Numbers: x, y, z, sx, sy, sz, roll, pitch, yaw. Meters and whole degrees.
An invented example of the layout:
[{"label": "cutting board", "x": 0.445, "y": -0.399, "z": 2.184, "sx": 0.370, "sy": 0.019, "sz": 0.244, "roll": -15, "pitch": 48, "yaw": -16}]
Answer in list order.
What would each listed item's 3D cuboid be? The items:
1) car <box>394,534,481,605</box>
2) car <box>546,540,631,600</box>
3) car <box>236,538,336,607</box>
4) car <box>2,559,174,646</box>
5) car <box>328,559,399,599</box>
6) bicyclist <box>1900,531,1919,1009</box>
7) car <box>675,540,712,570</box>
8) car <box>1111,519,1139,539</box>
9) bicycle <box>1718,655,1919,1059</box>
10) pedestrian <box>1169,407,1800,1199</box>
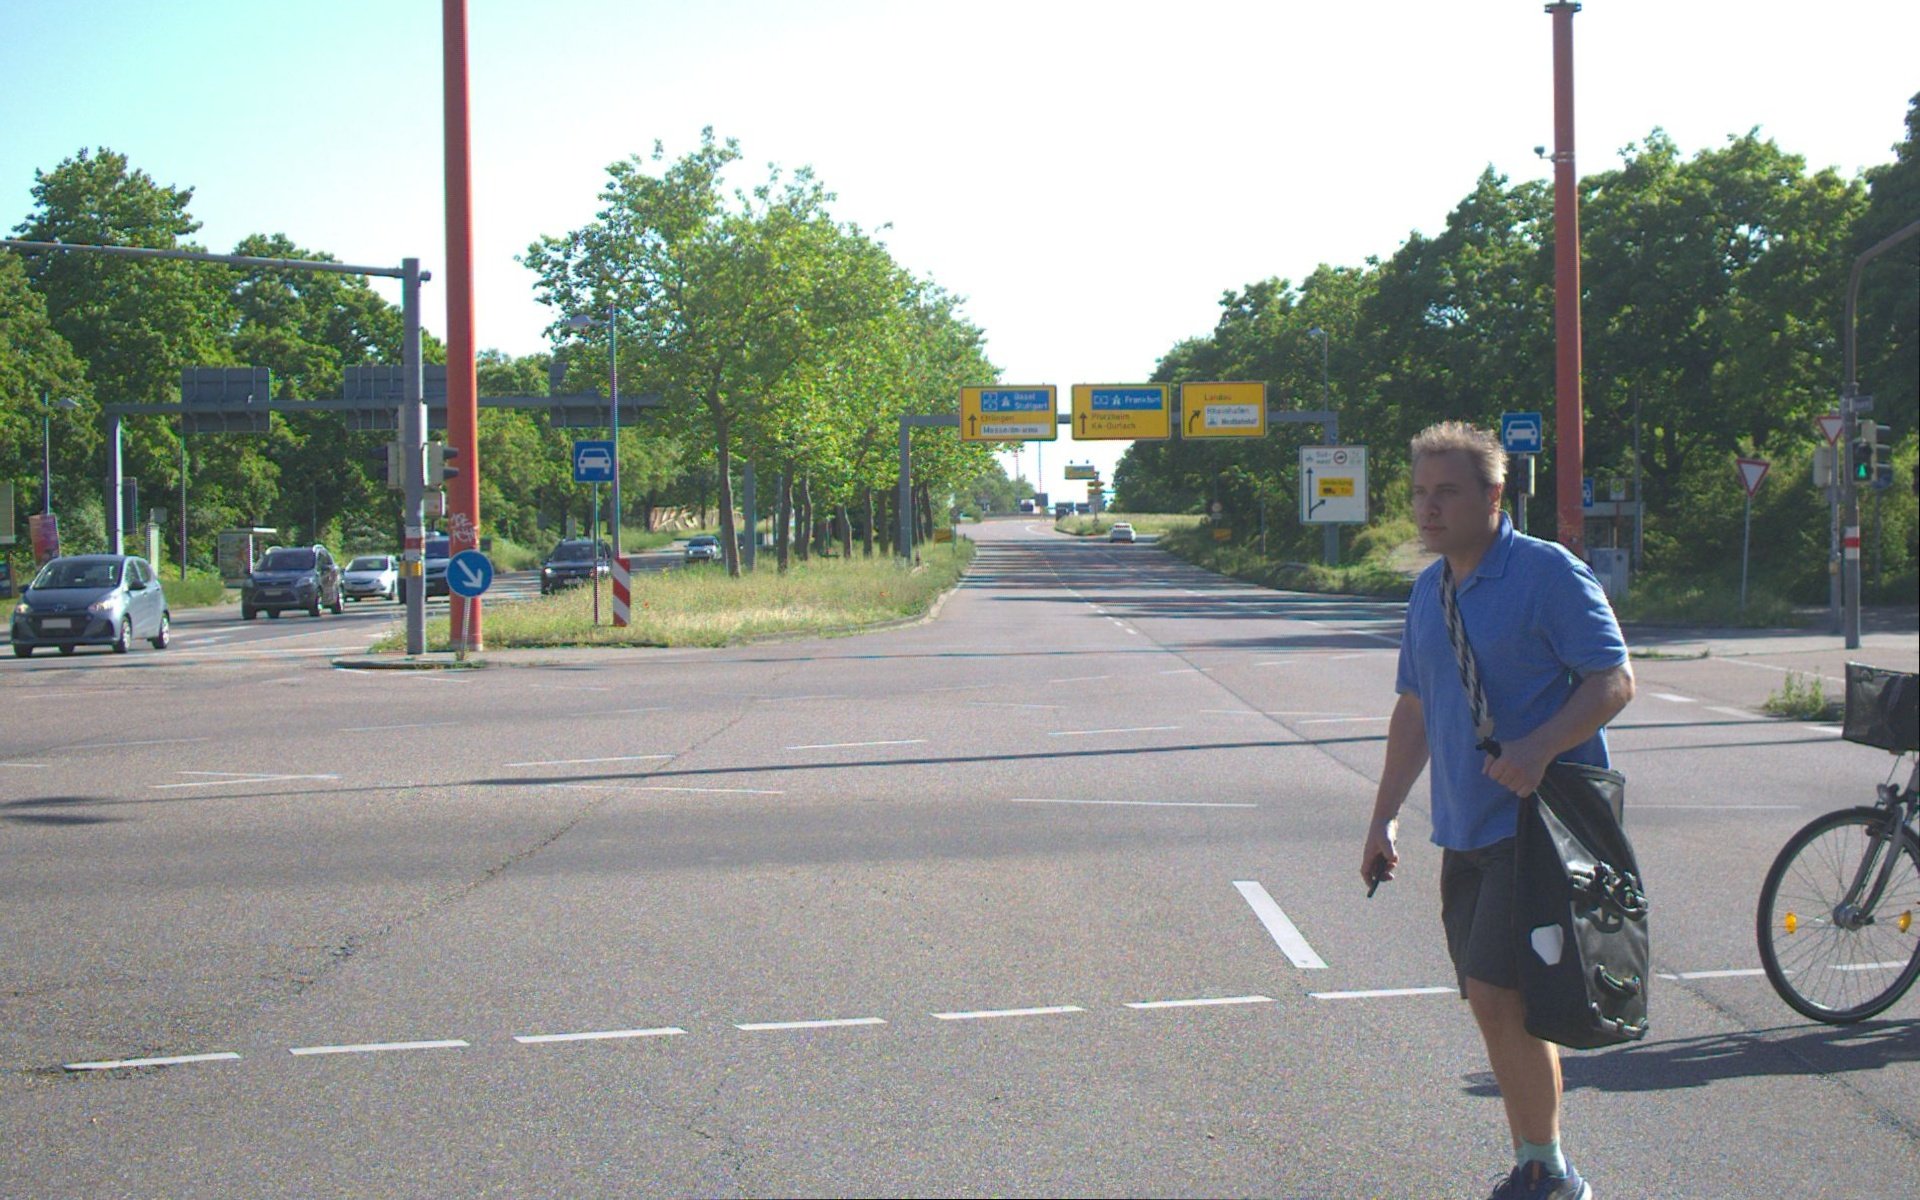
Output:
[{"label": "car", "x": -15.459, "y": -0.925, "z": 102.030, "sx": 1.893, "sy": 2.019, "sz": 5.224, "roll": -1, "pitch": 1, "yaw": -1}, {"label": "car", "x": -9.627, "y": -0.797, "z": 89.367, "sx": 1.819, "sy": 1.503, "sz": 4.000, "roll": 0, "pitch": 1, "yaw": -1}, {"label": "car", "x": -16.092, "y": -0.679, "z": 82.180, "sx": 1.739, "sy": 1.606, "sz": 3.613, "roll": -1, "pitch": 1, "yaw": -1}, {"label": "car", "x": -13.117, "y": 0.018, "z": 51.901, "sx": 1.739, "sy": 1.239, "sz": 3.613, "roll": -1, "pitch": 1, "yaw": -1}, {"label": "car", "x": -19.187, "y": -0.678, "z": 110.723, "sx": 1.739, "sy": 1.239, "sz": 3.613, "roll": -1, "pitch": 1, "yaw": -1}, {"label": "bicyclist", "x": 3.577, "y": 0.560, "z": 11.275, "sx": 0.660, "sy": 1.579, "sz": 0.673, "roll": -1, "pitch": 1, "yaw": -28}, {"label": "car", "x": -14.655, "y": -2.489, "z": 189.230, "sx": 1.797, "sy": 1.634, "sz": 4.000, "roll": 0, "pitch": 1, "yaw": -2}, {"label": "car", "x": 11.839, "y": -5.088, "z": 246.607, "sx": 1.794, "sy": 1.405, "sz": 4.000, "roll": 1, "pitch": 1, "yaw": -1}, {"label": "bicycle", "x": 3.464, "y": 0.781, "z": 11.218, "sx": 1.942, "sy": 1.191, "sz": 0.692, "roll": -1, "pitch": 1, "yaw": -28}, {"label": "pedestrian", "x": 1.109, "y": 0.502, "z": 7.405, "sx": 0.984, "sy": 1.787, "sz": 0.955, "roll": -1, "pitch": 1, "yaw": -22}]
